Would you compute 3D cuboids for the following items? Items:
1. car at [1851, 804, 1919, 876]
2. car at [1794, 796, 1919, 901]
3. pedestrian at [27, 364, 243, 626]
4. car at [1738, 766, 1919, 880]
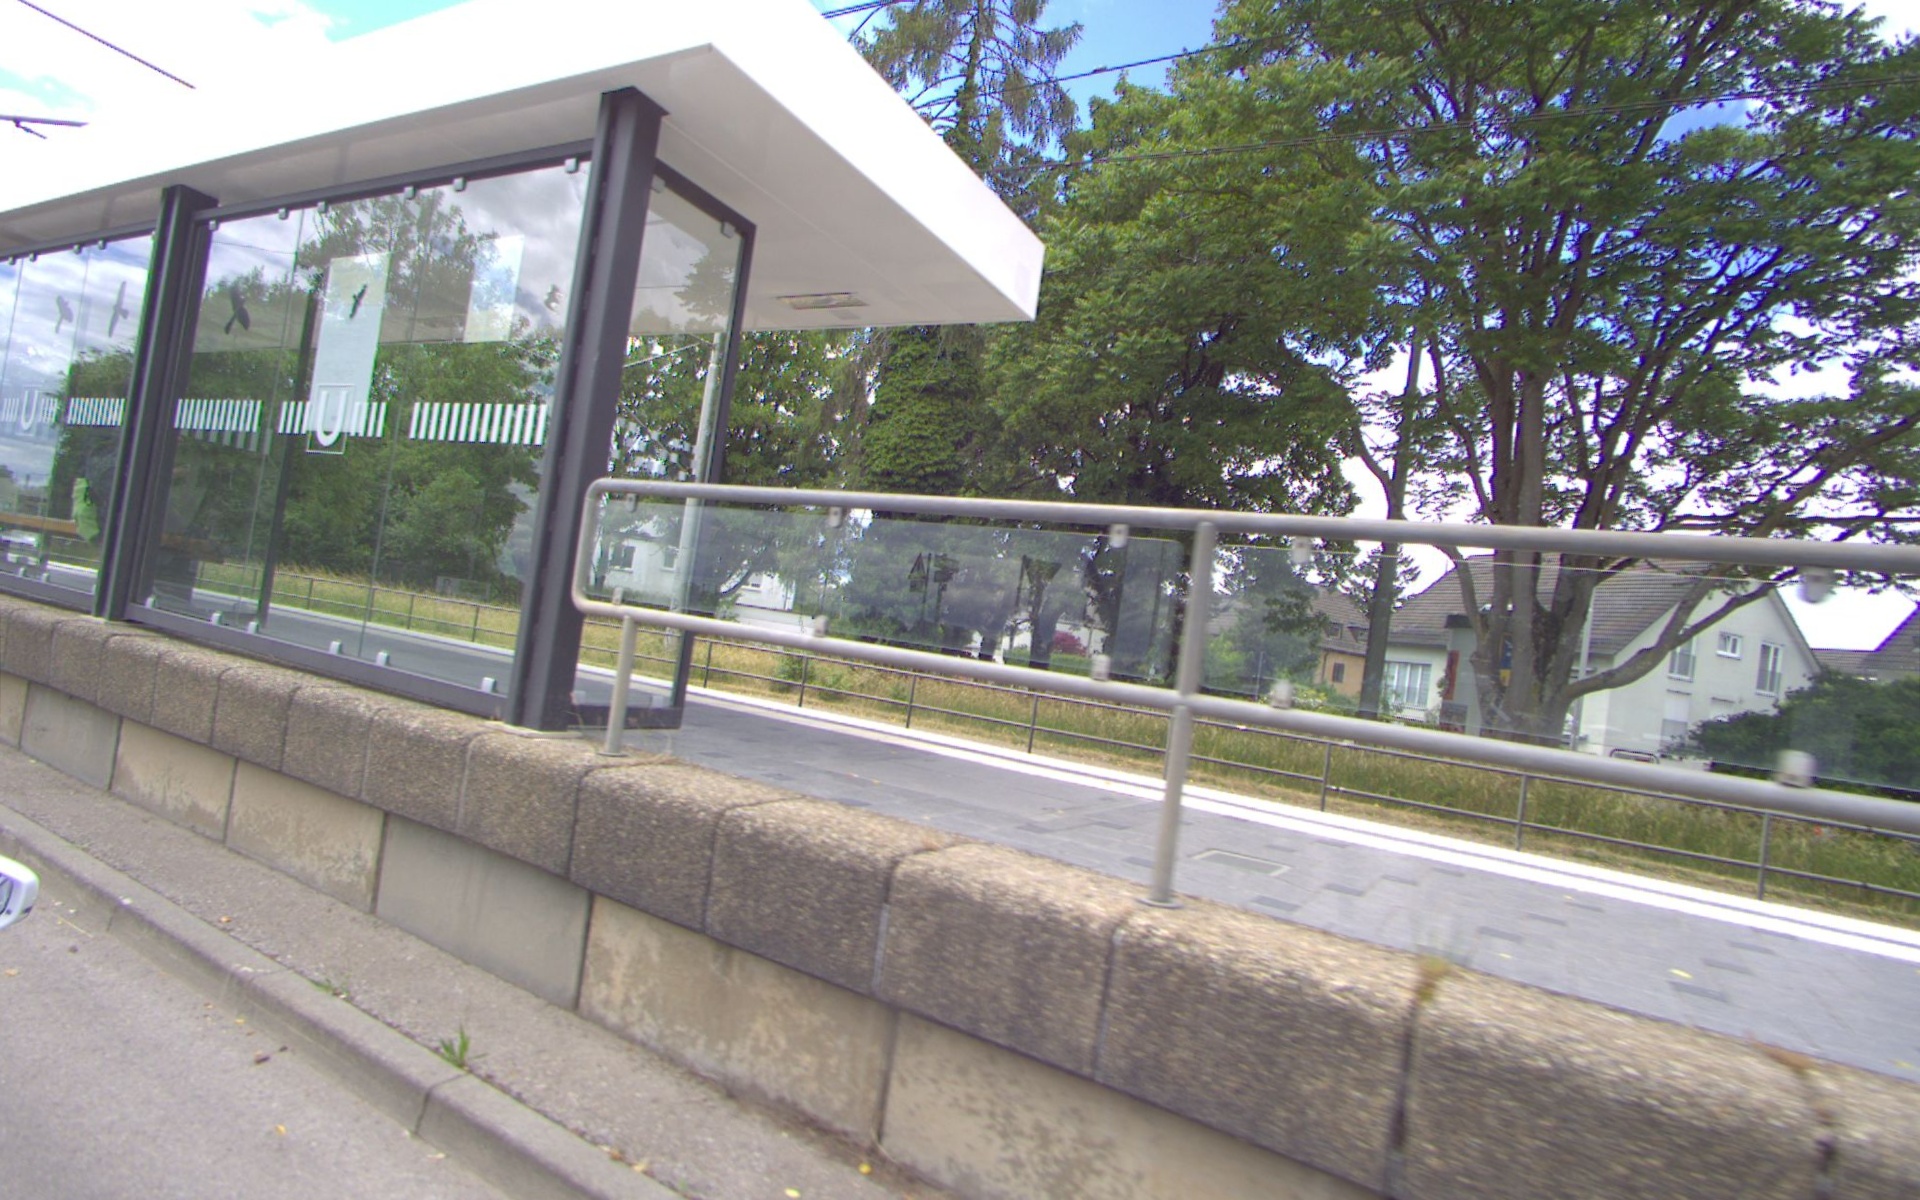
[{"bbox_3d":[24.284,6.035,24.251,1.748,1.505,3.863,9,-4,-37],"label":"car"},{"bbox_3d":[17.440,4.518,17.247,1.740,1.503,4.482,9,-5,-23],"label":"car"},{"bbox_3d":[-4.972,-0.623,6.075,0.751,1.421,0.640,8,-1,30],"label":"pedestrian"},{"bbox_3d":[20.235,4.997,22.165,1.746,1.864,4.464,10,-4,-33],"label":"car"}]
